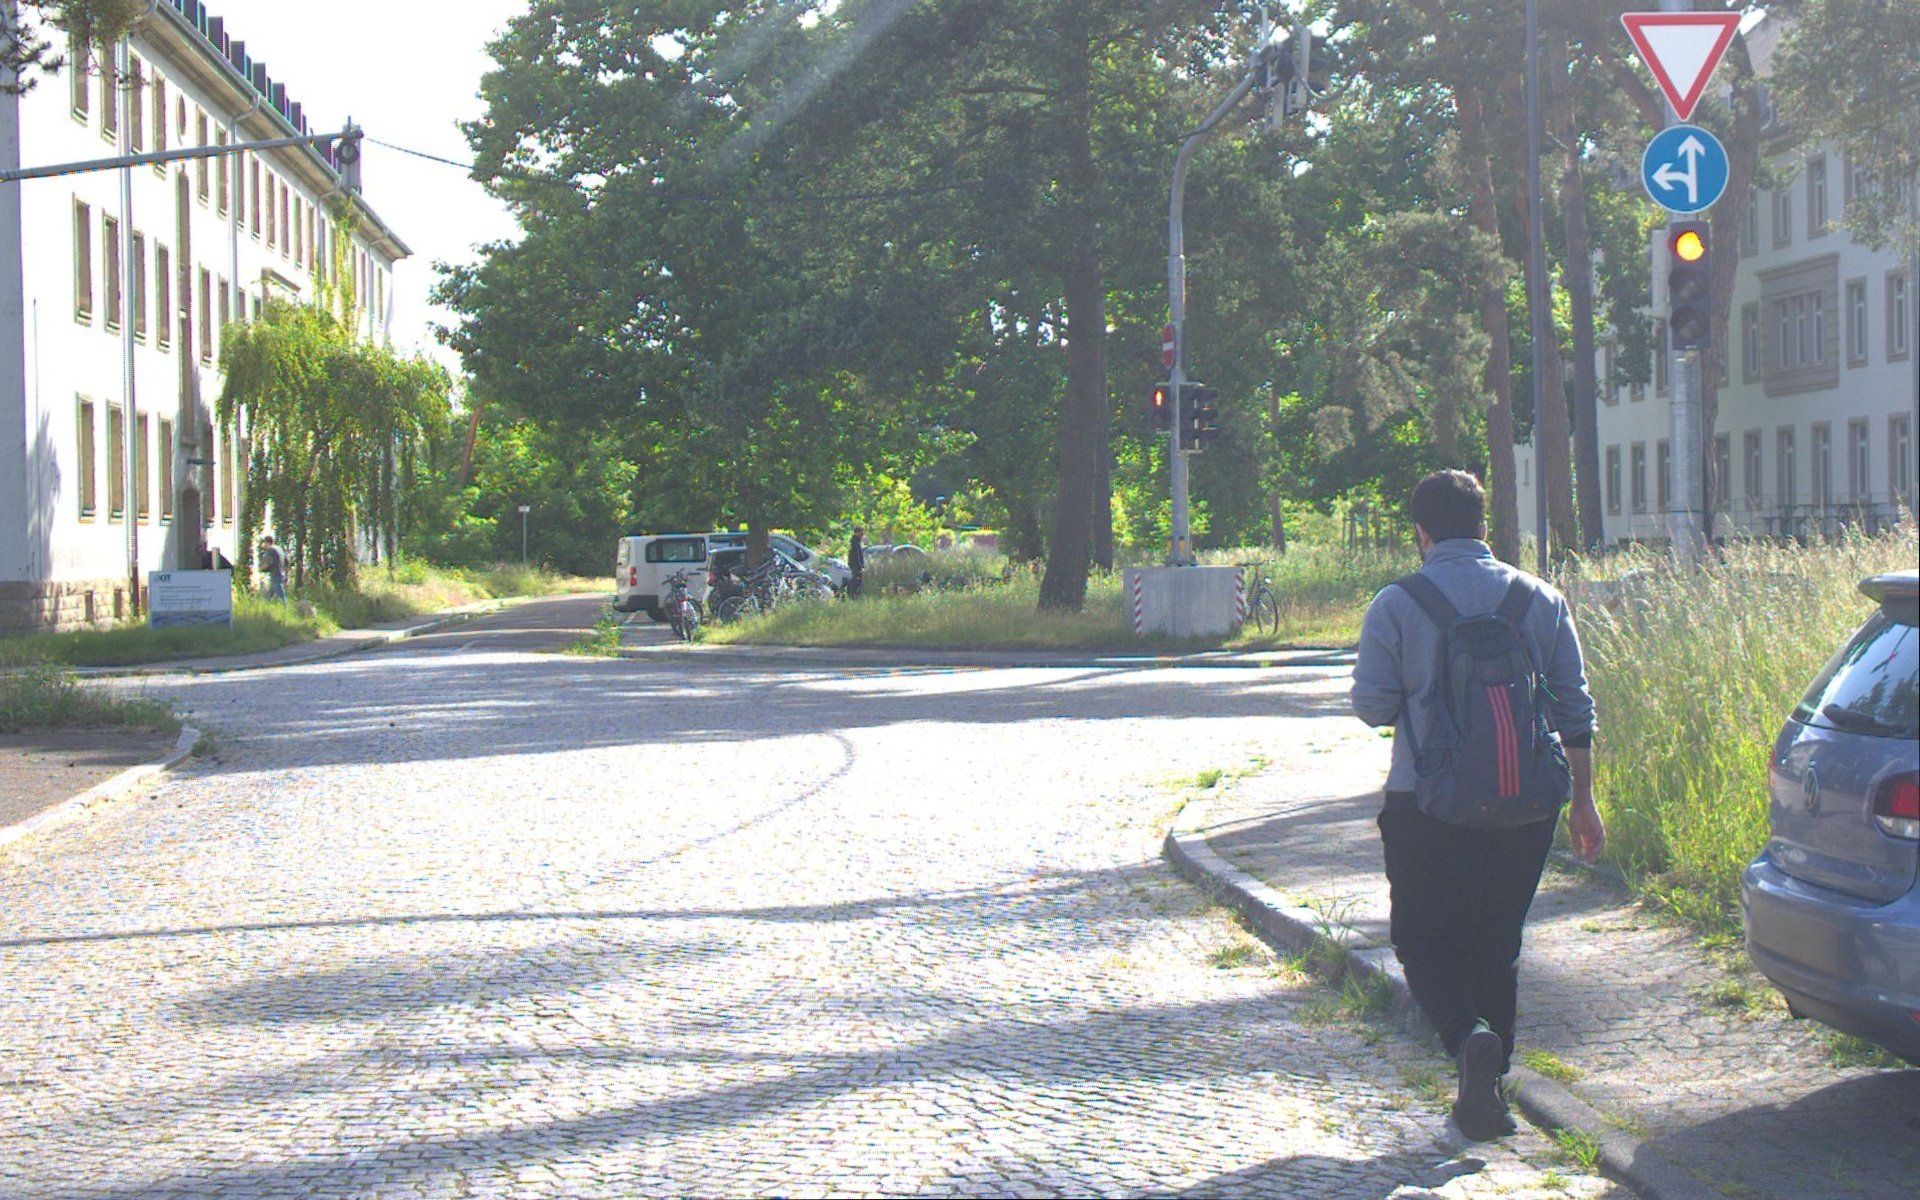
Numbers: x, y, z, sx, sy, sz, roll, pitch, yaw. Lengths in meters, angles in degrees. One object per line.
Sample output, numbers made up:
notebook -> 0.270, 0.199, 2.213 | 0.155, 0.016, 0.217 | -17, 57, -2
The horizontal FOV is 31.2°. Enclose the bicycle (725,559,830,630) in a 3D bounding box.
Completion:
bicycle -> -3.114, -0.098, 58.609 | 1.727, 1.160, 0.561 | -1, 1, -7

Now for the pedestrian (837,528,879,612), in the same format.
pedestrian -> -2.195, -0.642, 73.755 | 0.759, 1.777, 0.684 | -1, 1, -12

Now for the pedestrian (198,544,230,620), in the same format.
pedestrian -> -15.316, -0.366, 70.624 | 0.606, 1.554, 0.545 | -1, 1, -11

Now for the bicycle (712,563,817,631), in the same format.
bicycle -> -3.297, -0.047, 57.914 | 1.727, 1.108, 0.484 | -1, 1, -7

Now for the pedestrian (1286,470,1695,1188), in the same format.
pedestrian -> 1.343, 0.559, 8.852 | 0.753, 1.719, 0.829 | 4, 1, -5

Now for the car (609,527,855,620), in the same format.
car -> -5.002, -0.601, 75.182 | 5.065, 1.911, 2.001 | -1, 1, -13

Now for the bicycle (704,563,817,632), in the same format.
bicycle -> -3.324, -0.038, 57.366 | 1.834, 1.108, 0.495 | -1, 1, -7

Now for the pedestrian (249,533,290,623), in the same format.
pedestrian -> -13.395, -0.432, 66.683 | 0.607, 1.746, 0.630 | -1, 1, -28

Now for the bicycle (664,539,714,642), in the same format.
bicycle -> -4.273, -0.171, 54.075 | 0.753, 1.575, 2.537 | -1, 1, -5

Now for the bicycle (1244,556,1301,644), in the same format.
bicycle -> 4.178, -0.019, 45.943 | 0.722, 1.111, 2.583 | -1, 1, 5

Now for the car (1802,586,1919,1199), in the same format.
car -> 4.120, 0.602, 6.222 | 4.618, 1.450, 1.870 | -3, 1, -6

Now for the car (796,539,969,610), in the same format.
car -> -1.800, -0.594, 79.267 | 3.743, 1.574, 1.742 | -1, 1, -11

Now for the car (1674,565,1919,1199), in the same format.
car -> 3.889, 0.586, 8.791 | 3.673, 1.438, 1.665 | -3, 1, -4
